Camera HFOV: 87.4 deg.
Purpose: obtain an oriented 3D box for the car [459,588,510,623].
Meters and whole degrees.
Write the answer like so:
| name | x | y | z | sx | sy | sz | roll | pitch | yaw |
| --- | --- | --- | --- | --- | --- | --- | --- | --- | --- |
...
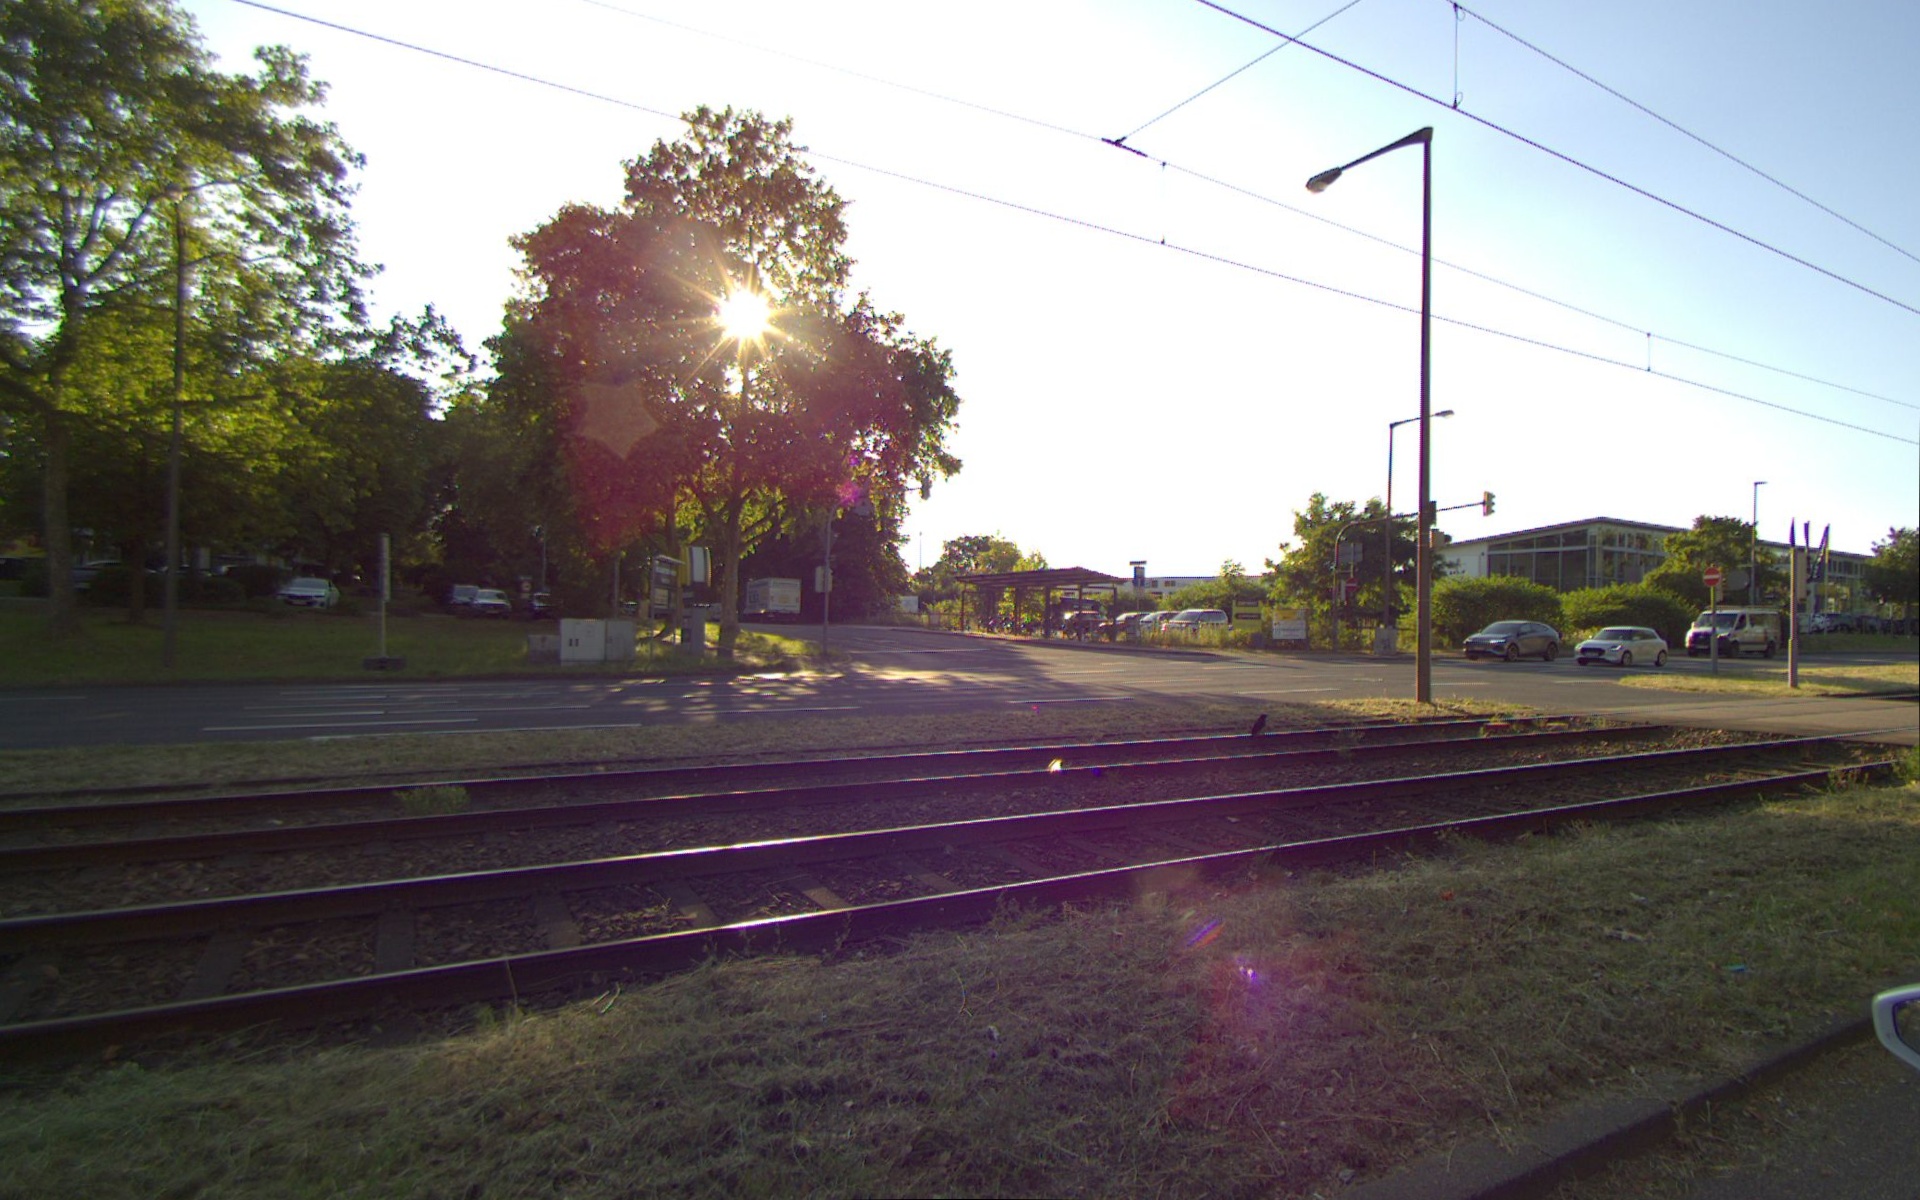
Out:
| name | x | y | z | sx | sy | sz | roll | pitch | yaw |
| --- | --- | --- | --- | --- | --- | --- | --- | --- | --- |
| car | -23.264 | 0.237 | 49.040 | 2.018 | 1.595 | 4.369 | 1 | 0 | -29 |

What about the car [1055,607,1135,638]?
| name | x | y | z | sx | sy | sz | roll | pitch | yaw |
| --- | --- | --- | --- | --- | --- | --- | --- | --- | --- |
| car | 7.973 | 1.328 | 59.271 | 4.271 | 1.670 | 2.103 | 2 | 0 | -31 |

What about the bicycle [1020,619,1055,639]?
| name | x | y | z | sx | sy | sz | roll | pitch | yaw |
| --- | --- | --- | --- | --- | --- | --- | --- | --- | --- |
| bicycle | 4.196 | 1.559 | 54.399 | 1.870 | 1.052 | 0.540 | 1 | 0 | -29 |

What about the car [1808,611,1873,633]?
| name | x | y | z | sx | sy | sz | roll | pitch | yaw |
| --- | --- | --- | --- | --- | --- | --- | --- | --- | --- |
| car | 68.647 | 1.713 | 78.396 | 3.745 | 1.588 | 1.750 | 2 | 0 | 42 |

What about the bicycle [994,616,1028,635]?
| name | x | y | z | sx | sy | sz | roll | pitch | yaw |
| --- | --- | --- | --- | --- | --- | --- | --- | --- | --- |
| bicycle | 2.879 | 1.423 | 56.360 | 1.868 | 1.052 | 0.541 | 1 | 0 | -25 |

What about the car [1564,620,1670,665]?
| name | x | y | z | sx | sy | sz | roll | pitch | yaw |
| --- | --- | --- | --- | --- | --- | --- | --- | --- | --- |
| car | 25.435 | 1.635 | 38.888 | 3.953 | 1.639 | 1.861 | 2 | 0 | -30 |

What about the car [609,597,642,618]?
| name | x | y | z | sx | sy | sz | roll | pitch | yaw |
| --- | --- | --- | --- | --- | --- | --- | --- | --- | --- |
| car | -26.699 | 0.589 | 80.150 | 1.828 | 1.572 | 3.971 | 2 | 0 | -27 |

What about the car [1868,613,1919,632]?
| name | x | y | z | sx | sy | sz | roll | pitch | yaw |
| --- | --- | --- | --- | --- | --- | --- | --- | --- | --- |
| car | 82.685 | 1.969 | 88.650 | 3.745 | 1.588 | 1.750 | 2 | 0 | 42 |

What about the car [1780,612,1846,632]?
| name | x | y | z | sx | sy | sz | roll | pitch | yaw |
| --- | --- | --- | --- | --- | --- | --- | --- | --- | --- |
| car | 65.023 | 1.667 | 76.576 | 3.745 | 1.407 | 1.750 | 2 | 0 | 42 |

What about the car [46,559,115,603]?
| name | x | y | z | sx | sy | sz | roll | pitch | yaw |
| --- | --- | --- | --- | --- | --- | --- | --- | --- | --- |
| car | -36.425 | -0.760 | 41.681 | 1.811 | 1.710 | 4.180 | 1 | 0 | -37 |

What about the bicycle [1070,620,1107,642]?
| name | x | y | z | sx | sy | sz | roll | pitch | yaw |
| --- | --- | --- | --- | --- | --- | --- | --- | --- | --- |
| bicycle | 6.372 | 1.550 | 49.720 | 1.870 | 1.052 | 0.540 | 1 | 0 | -29 |

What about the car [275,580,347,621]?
| name | x | y | z | sx | sy | sz | roll | pitch | yaw |
| --- | --- | --- | --- | --- | --- | --- | --- | --- | --- |
| car | -29.508 | -0.002 | 45.816 | 1.972 | 1.729 | 4.871 | 2 | 0 | -24 |

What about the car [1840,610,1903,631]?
| name | x | y | z | sx | sy | sz | roll | pitch | yaw |
| --- | --- | --- | --- | --- | --- | --- | --- | --- | --- |
| car | 73.702 | 1.661 | 81.269 | 3.745 | 1.588 | 1.750 | 2 | 0 | 42 |

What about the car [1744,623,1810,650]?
| name | x | y | z | sx | sy | sz | roll | pitch | yaw |
| --- | --- | --- | --- | --- | --- | --- | --- | --- | --- |
| car | 61.453 | 2.712 | 75.550 | 3.745 | 1.884 | 1.750 | 2 | 0 | 42 |

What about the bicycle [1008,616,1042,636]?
| name | x | y | z | sx | sy | sz | roll | pitch | yaw |
| --- | --- | --- | --- | --- | --- | --- | --- | --- | --- |
| bicycle | 3.568 | 1.424 | 54.905 | 1.870 | 1.052 | 0.540 | 1 | 0 | -29 |

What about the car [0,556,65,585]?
| name | x | y | z | sx | sy | sz | roll | pitch | yaw |
| --- | --- | --- | --- | --- | --- | --- | --- | --- | --- |
| car | -55.473 | -1.752 | 59.156 | 1.782 | 1.572 | 3.977 | 1 | 0 | 43 |

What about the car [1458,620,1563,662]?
| name | x | y | z | sx | sy | sz | roll | pitch | yaw |
| --- | --- | --- | --- | --- | --- | --- | --- | --- | --- |
| car | 23.234 | 1.730 | 42.360 | 4.495 | 1.639 | 1.861 | 2 | 0 | -30 |

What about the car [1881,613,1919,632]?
| name | x | y | z | sx | sy | sz | roll | pitch | yaw |
| --- | --- | --- | --- | --- | --- | --- | --- | --- | --- |
| car | 85.158 | 2.051 | 90.066 | 3.745 | 1.588 | 1.750 | 2 | 0 | 42 |

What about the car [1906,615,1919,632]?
| name | x | y | z | sx | sy | sz | roll | pitch | yaw |
| --- | --- | --- | --- | --- | --- | --- | --- | --- | --- |
| car | 90.338 | 2.223 | 93.104 | 3.745 | 1.588 | 1.750 | 2 | 0 | 42 |

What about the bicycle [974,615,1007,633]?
| name | x | y | z | sx | sy | sz | roll | pitch | yaw |
| --- | --- | --- | --- | --- | --- | --- | --- | --- | --- |
| bicycle | 1.814 | 1.419 | 59.017 | 1.868 | 1.052 | 0.541 | 1 | 0 | -25 |

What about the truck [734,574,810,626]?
| name | x | y | z | sx | sy | sz | roll | pitch | yaw |
| --- | --- | --- | --- | --- | --- | --- | --- | --- | --- |
| truck | -15.375 | -0.031 | 81.150 | 3.153 | 3.927 | 11.024 | 2 | 0 | -26 |

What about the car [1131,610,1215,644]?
| name | x | y | z | sx | sy | sz | roll | pitch | yaw |
| --- | --- | --- | --- | --- | --- | --- | --- | --- | --- |
| car | 11.276 | 1.420 | 53.131 | 3.954 | 1.670 | 2.103 | 2 | 0 | -31 |

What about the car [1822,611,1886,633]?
| name | x | y | z | sx | sy | sz | roll | pitch | yaw |
| --- | --- | --- | --- | --- | --- | --- | --- | --- | --- |
| car | 70.882 | 1.719 | 79.726 | 3.745 | 1.588 | 1.750 | 2 | 0 | 42 |

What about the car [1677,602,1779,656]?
| name | x | y | z | sx | sy | sz | roll | pitch | yaw |
| --- | --- | --- | --- | --- | --- | --- | --- | --- | --- |
| car | 39.409 | 1.495 | 51.502 | 5.805 | 2.600 | 1.994 | 2 | 0 | -29 |

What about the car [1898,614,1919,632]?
| name | x | y | z | sx | sy | sz | roll | pitch | yaw |
| --- | --- | --- | --- | --- | --- | --- | --- | --- | --- |
| car | 88.065 | 2.146 | 91.518 | 3.745 | 1.588 | 1.750 | 2 | 0 | 42 |

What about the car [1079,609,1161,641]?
| name | x | y | z | sx | sy | sz | roll | pitch | yaw |
| --- | --- | --- | --- | --- | --- | --- | --- | --- | --- |
| car | 9.142 | 1.434 | 57.309 | 4.271 | 1.670 | 2.103 | 2 | 0 | -31 |

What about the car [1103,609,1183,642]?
| name | x | y | z | sx | sy | sz | roll | pitch | yaw |
| --- | --- | --- | --- | --- | --- | --- | --- | --- | --- |
| car | 10.071 | 1.394 | 55.248 | 3.954 | 1.670 | 2.103 | 2 | 0 | -31 |

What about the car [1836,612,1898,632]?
| name | x | y | z | sx | sy | sz | roll | pitch | yaw |
| --- | --- | --- | --- | --- | --- | --- | --- | --- | --- |
| car | 75.484 | 1.827 | 83.661 | 3.745 | 1.588 | 1.750 | 2 | 0 | 42 |

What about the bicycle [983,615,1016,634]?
| name | x | y | z | sx | sy | sz | roll | pitch | yaw |
| --- | --- | --- | --- | --- | --- | --- | --- | --- | --- |
| bicycle | 2.257 | 1.390 | 57.626 | 1.868 | 1.052 | 0.541 | 1 | 0 | -25 |

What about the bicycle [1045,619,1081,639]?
| name | x | y | z | sx | sy | sz | roll | pitch | yaw |
| --- | --- | --- | --- | --- | --- | --- | --- | --- | --- |
| bicycle | 5.355 | 1.507 | 52.259 | 1.870 | 1.052 | 0.540 | 1 | 0 | -29 |
